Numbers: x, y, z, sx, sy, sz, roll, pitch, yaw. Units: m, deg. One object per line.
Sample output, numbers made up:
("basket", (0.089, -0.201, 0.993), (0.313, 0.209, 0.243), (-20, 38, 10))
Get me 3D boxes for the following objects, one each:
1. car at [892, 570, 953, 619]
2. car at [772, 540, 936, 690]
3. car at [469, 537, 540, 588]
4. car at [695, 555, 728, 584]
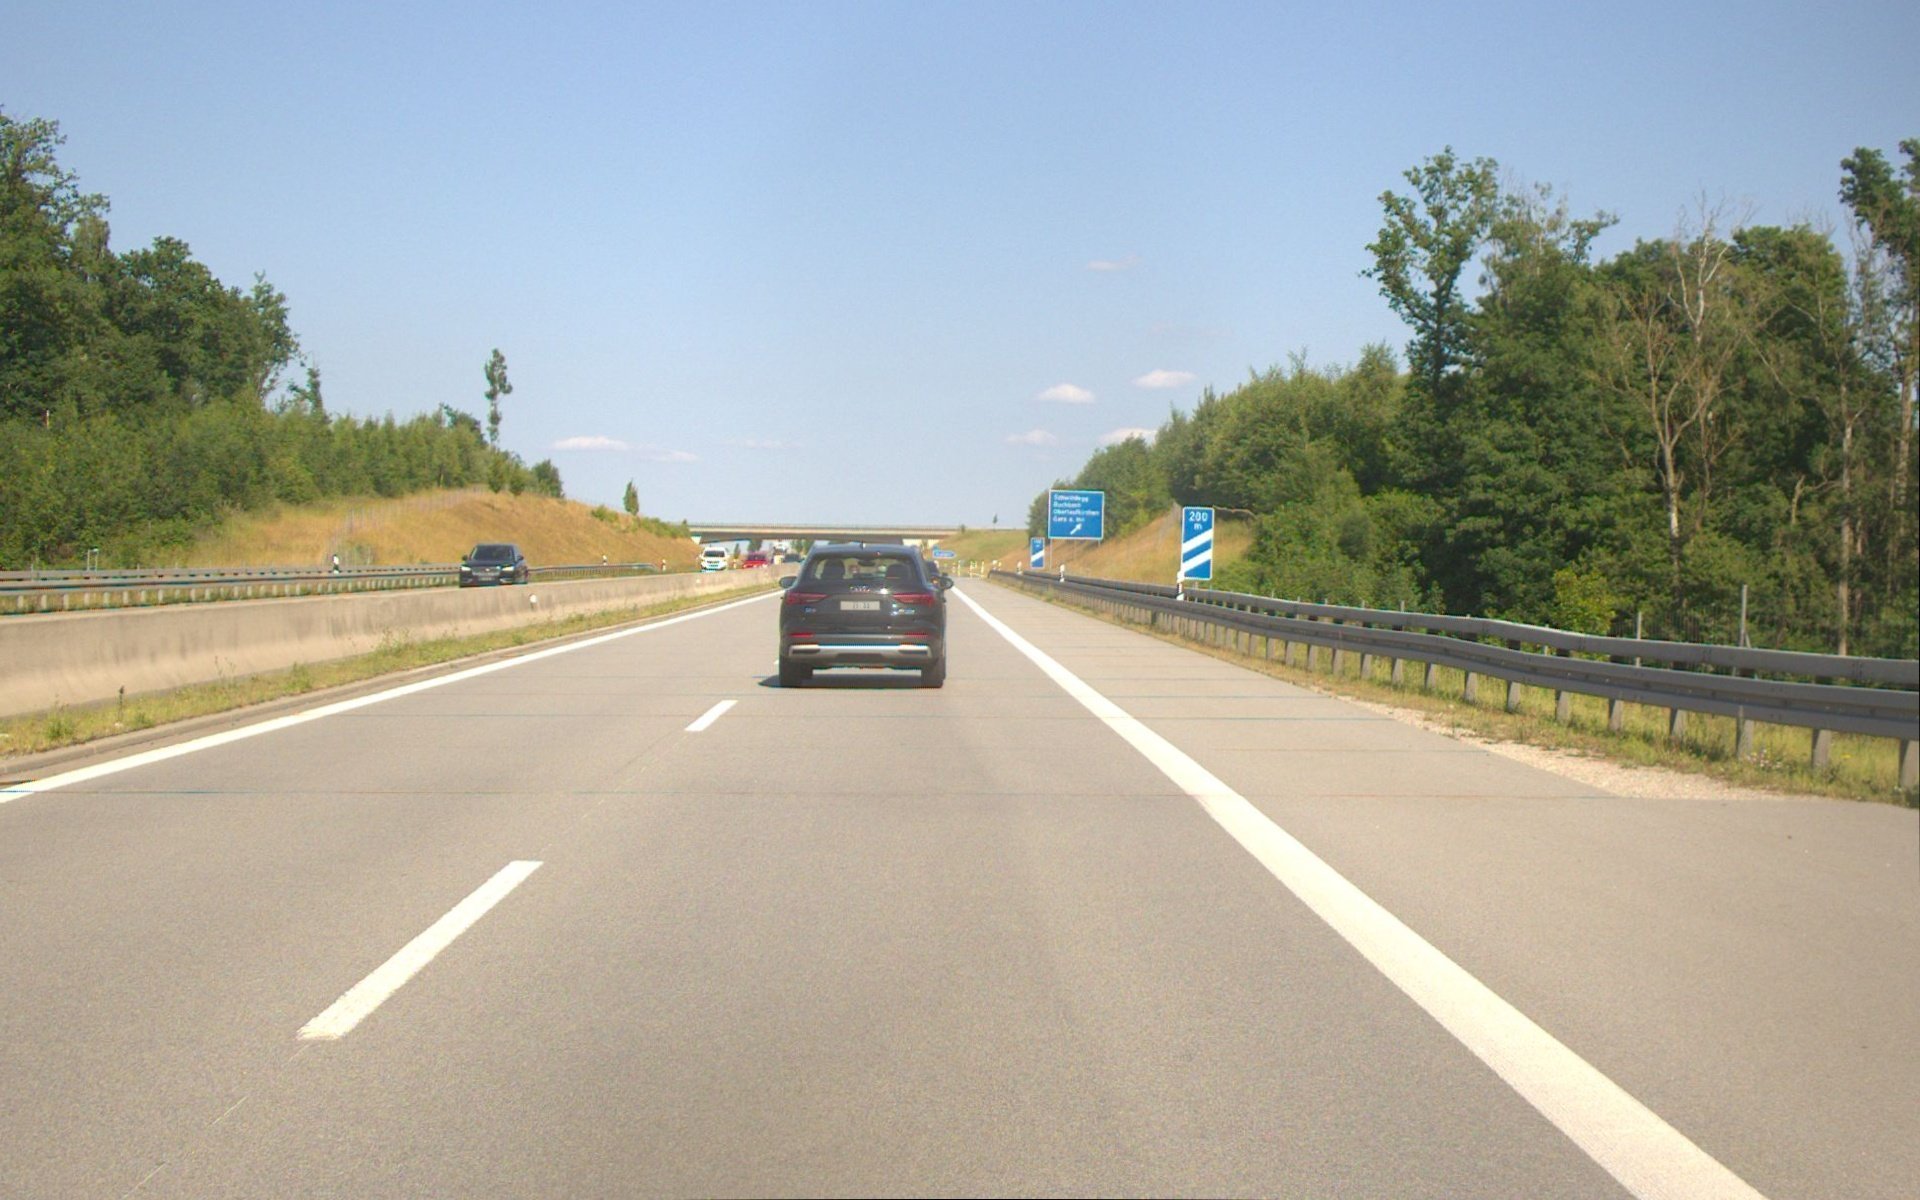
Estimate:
("car", (-1.106, -0.185, 102.323), (1.790, 1.369, 3.917), (1, 1, 0))
("car", (-1.147, 0.125, 39.328), (1.722, 1.582, 5.222), (1, 1, 0))
("car", (-15.615, -1.301, 118.049), (1.901, 1.686, 4.269), (1, 1, -1))
("car", (-18.128, -2.261, 251.118), (1.993, 2.076, 6.227), (1, 1, 0))
